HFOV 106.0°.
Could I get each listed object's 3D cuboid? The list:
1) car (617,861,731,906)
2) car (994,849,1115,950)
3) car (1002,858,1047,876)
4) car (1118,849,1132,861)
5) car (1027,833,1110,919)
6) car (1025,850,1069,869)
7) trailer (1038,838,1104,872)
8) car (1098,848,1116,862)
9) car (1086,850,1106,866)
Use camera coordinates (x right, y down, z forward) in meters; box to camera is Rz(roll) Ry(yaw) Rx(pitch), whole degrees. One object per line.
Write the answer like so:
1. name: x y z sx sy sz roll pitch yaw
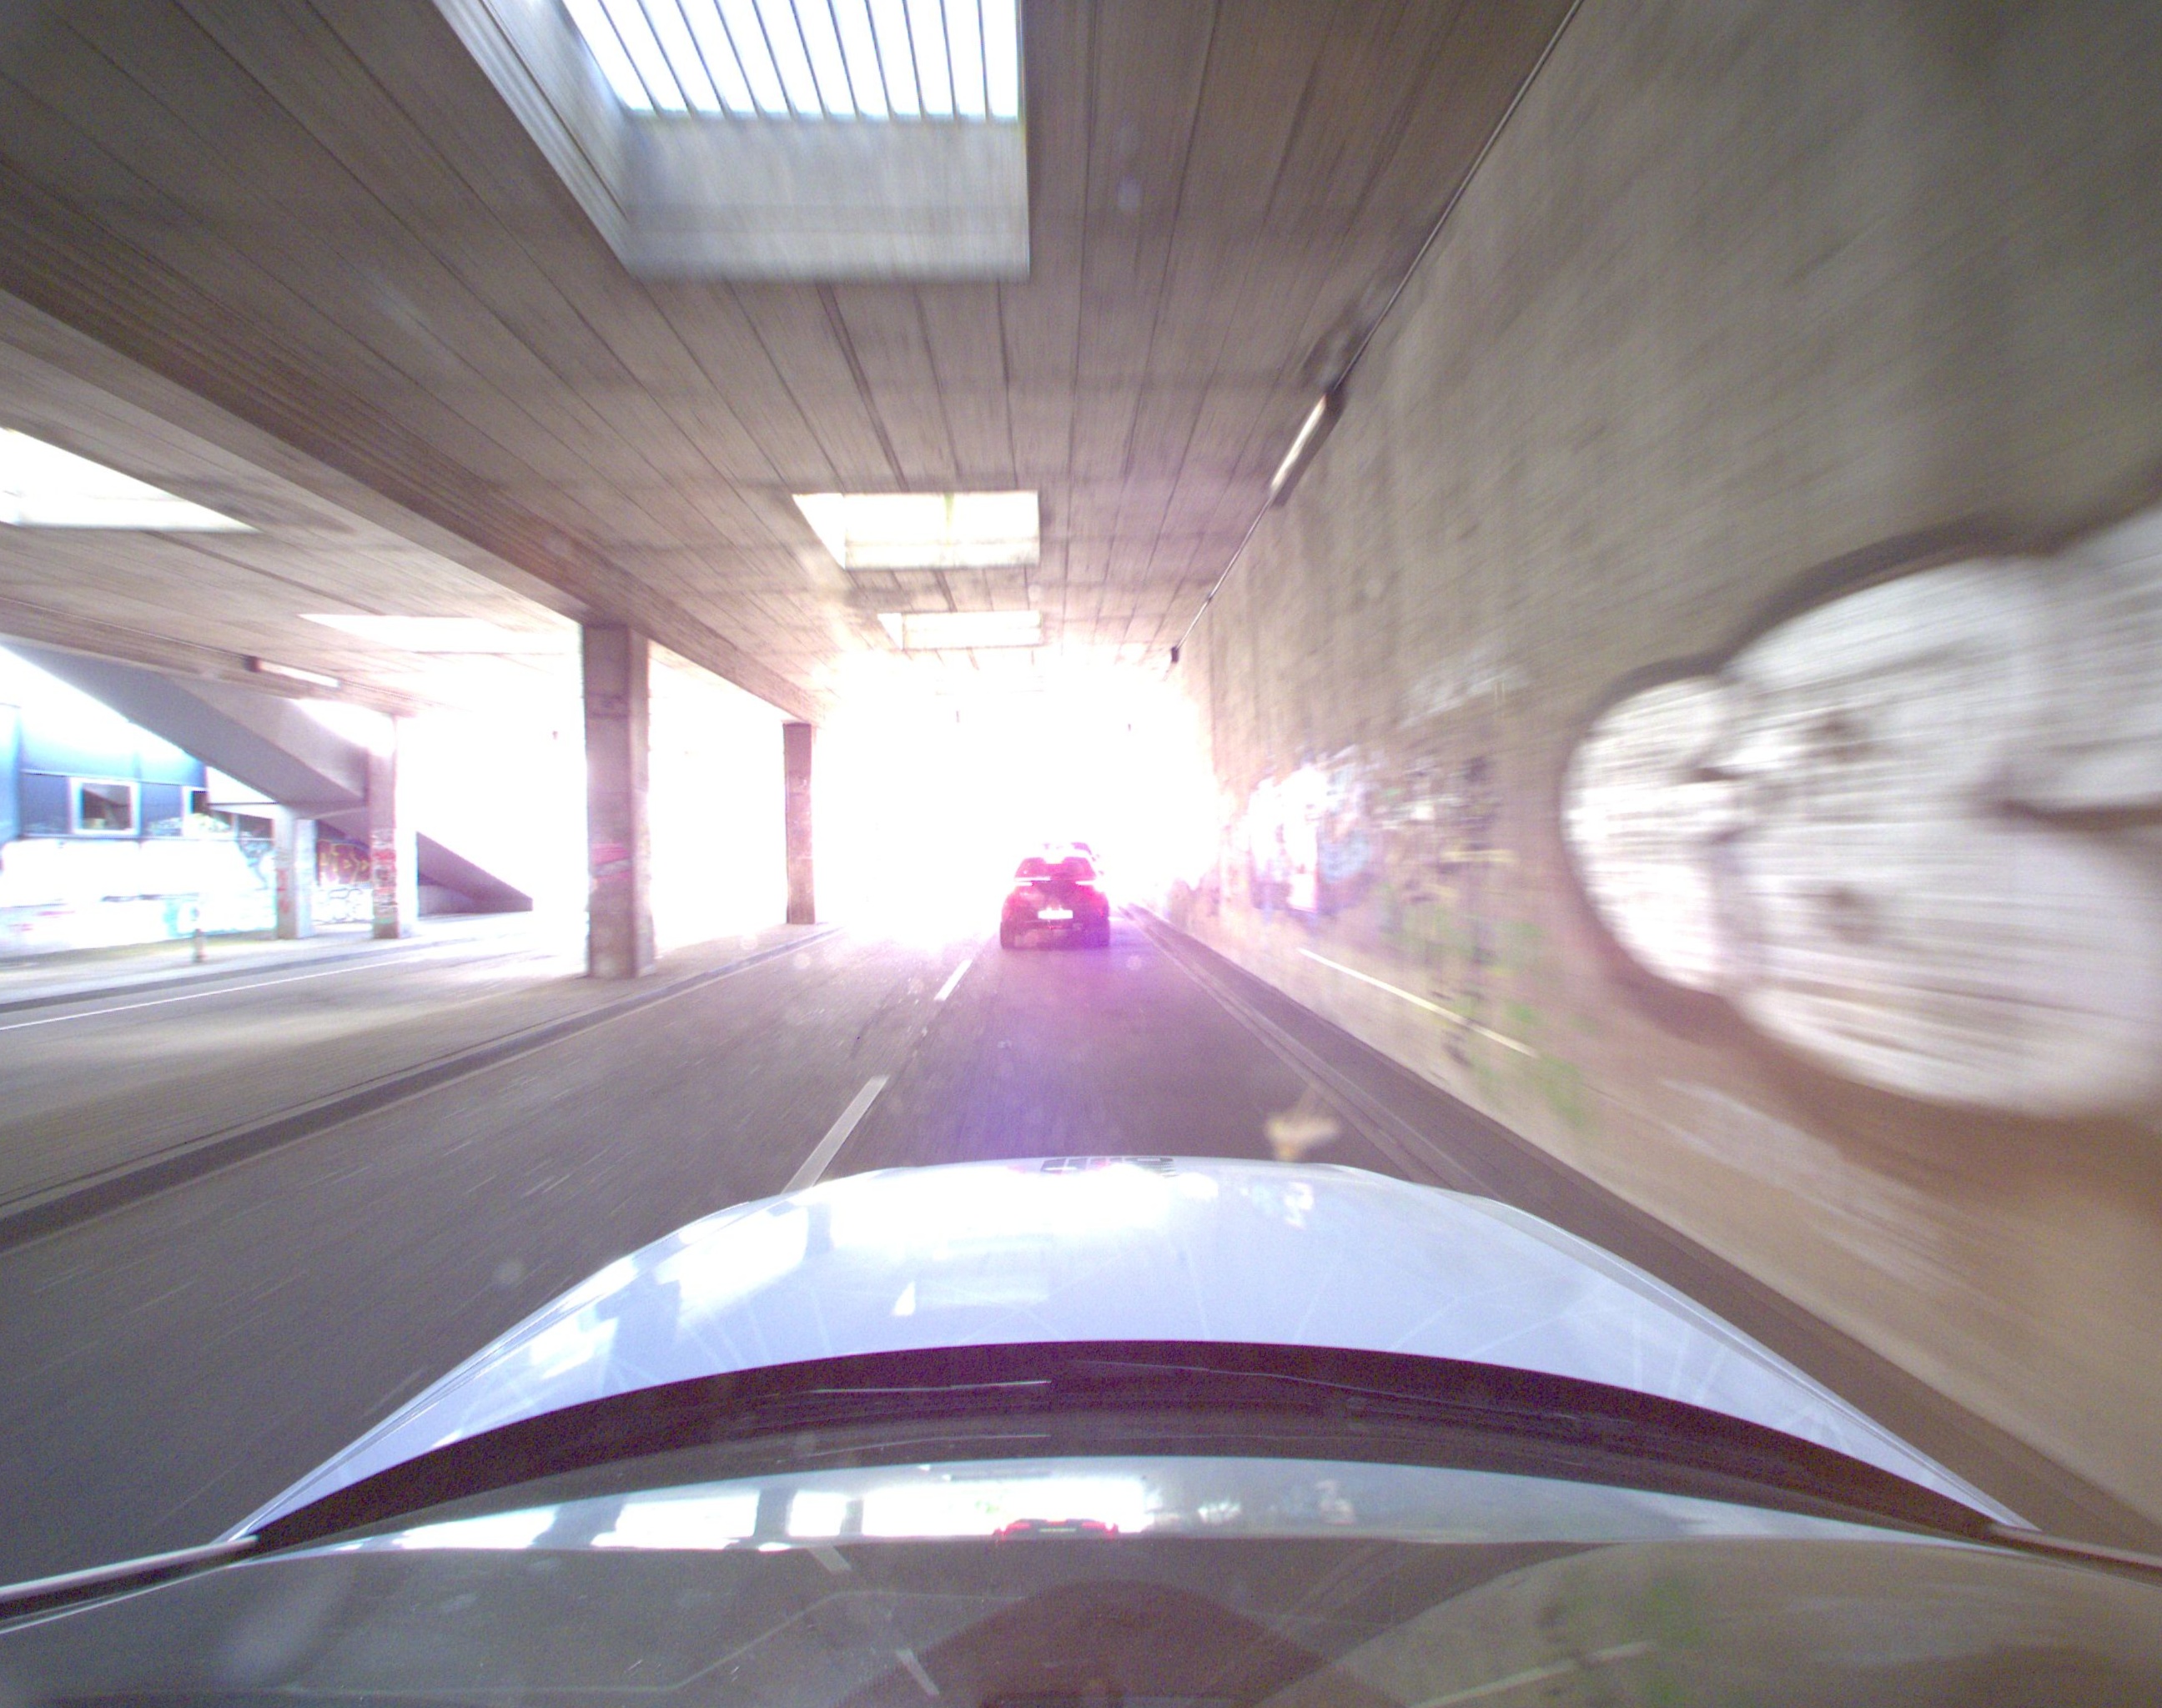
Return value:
1. car: -19.963 1.426 40.090 4.468 2.013 1.999 -1 2 -3
2. car: -0.453 0.680 14.578 1.821 1.501 4.208 -1 0 -2
3. car: -5.306 1.234 76.823 3.972 1.574 1.640 -1 0 1
4. car: 7.937 0.149 146.123 1.981 2.013 4.281 -2 0 10
5. car: -0.373 0.474 20.682 1.811 1.882 4.581 -2 0 -2
6. car: -3.382 0.516 81.250 4.131 1.739 2.003 -2 0 4
7. trailer: -0.577 0.057 51.219 3.971 2.013 2.001 -2 0 2
8. car: 3.979 0.091 123.602 1.981 2.013 4.281 -2 0 10
9. car: 2.088 0.521 113.052 1.981 2.013 4.281 -2 0 10
